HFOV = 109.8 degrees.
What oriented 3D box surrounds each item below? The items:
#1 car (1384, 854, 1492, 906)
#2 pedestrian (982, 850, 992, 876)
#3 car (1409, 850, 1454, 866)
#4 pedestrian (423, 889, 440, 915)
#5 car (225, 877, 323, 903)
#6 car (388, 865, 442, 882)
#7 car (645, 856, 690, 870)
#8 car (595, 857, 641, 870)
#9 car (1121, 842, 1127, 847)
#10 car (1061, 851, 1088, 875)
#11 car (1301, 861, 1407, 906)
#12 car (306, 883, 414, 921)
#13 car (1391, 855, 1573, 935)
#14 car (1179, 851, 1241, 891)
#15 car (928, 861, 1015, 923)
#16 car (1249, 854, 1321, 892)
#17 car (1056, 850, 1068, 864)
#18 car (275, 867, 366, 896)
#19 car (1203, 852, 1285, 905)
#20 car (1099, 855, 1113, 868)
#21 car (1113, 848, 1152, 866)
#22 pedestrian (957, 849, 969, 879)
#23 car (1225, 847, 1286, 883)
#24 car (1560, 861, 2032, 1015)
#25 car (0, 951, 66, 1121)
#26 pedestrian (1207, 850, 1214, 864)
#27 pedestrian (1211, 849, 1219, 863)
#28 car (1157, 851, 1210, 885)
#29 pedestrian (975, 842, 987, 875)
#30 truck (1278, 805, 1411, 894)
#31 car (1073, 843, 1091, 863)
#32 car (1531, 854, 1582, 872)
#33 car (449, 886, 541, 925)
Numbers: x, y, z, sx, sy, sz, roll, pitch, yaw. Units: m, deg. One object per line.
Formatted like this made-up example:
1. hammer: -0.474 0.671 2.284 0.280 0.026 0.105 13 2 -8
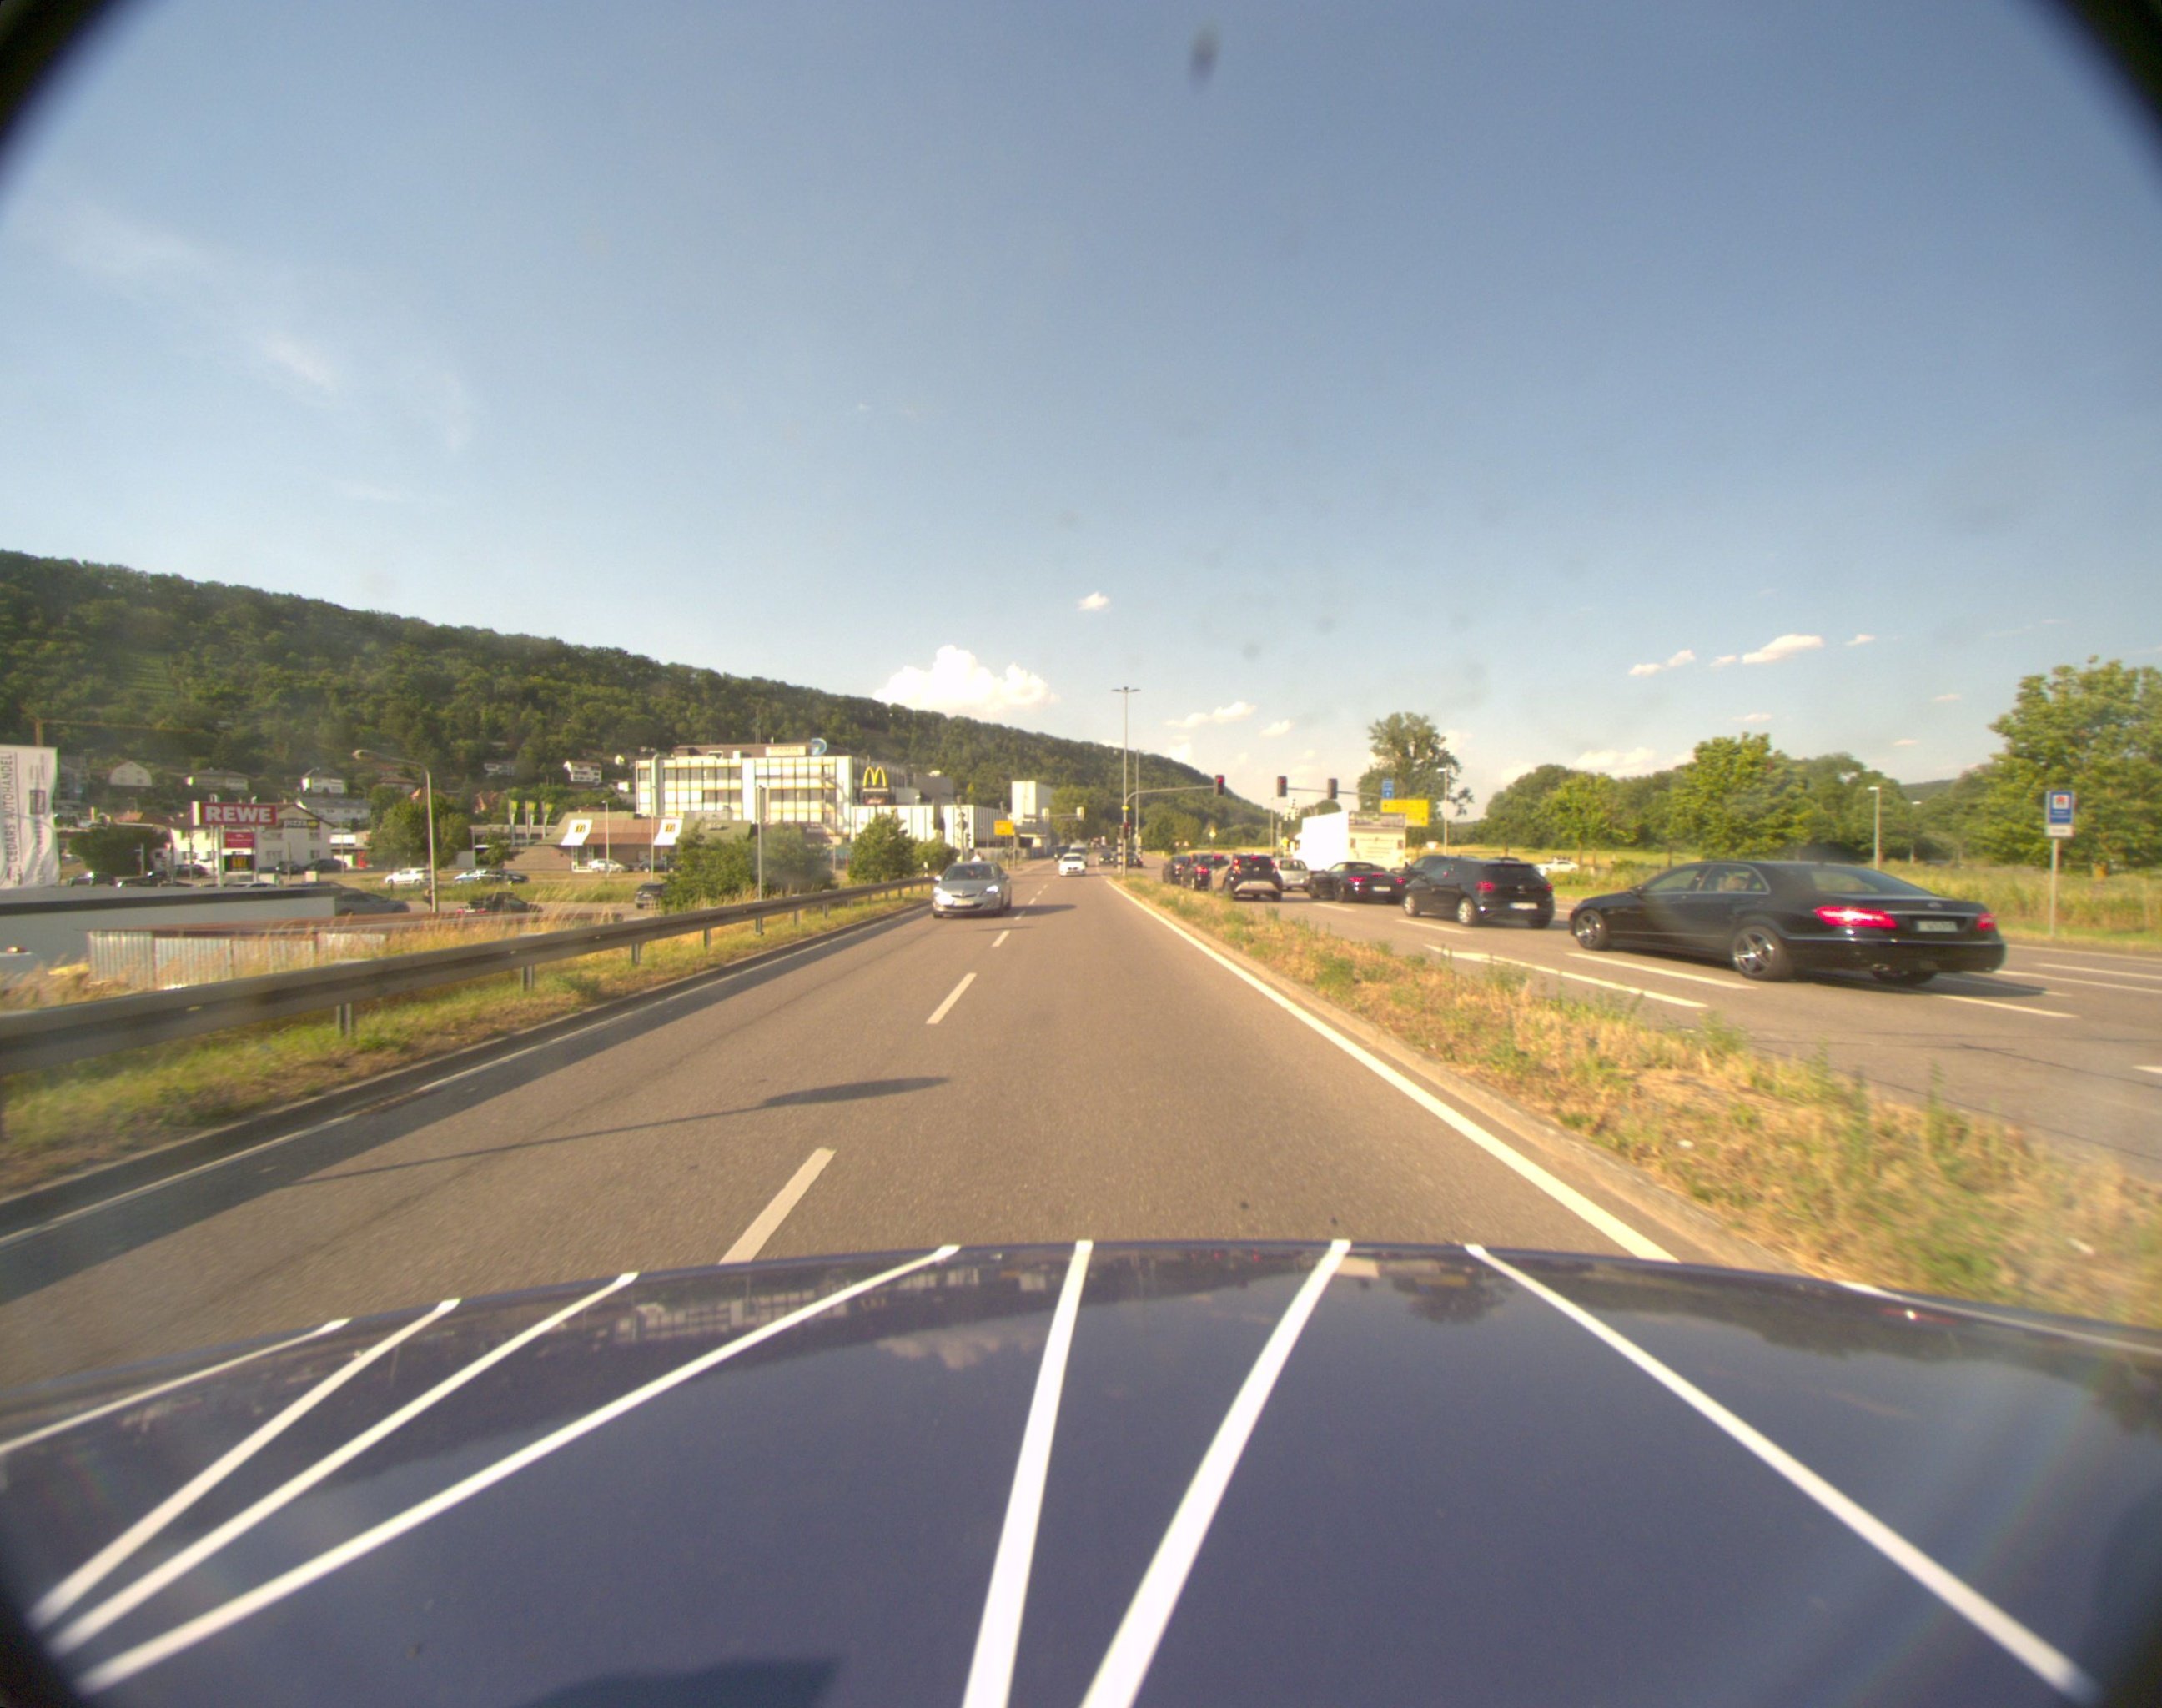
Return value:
1. car: 12.045 0.822 25.970 1.767 1.520 3.999 1 1 0
2. pedestrian: -5.921 0.588 47.948 0.573 1.606 0.622 1 2 -4
3. car: 35.536 0.352 77.015 3.881 1.412 1.765 -3 2 -14
4. pedestrian: -38.278 2.830 44.777 0.379 1.451 0.568 -1 2 26
5. car: -58.411 2.556 55.107 1.997 1.516 4.440 -2 1 7
6. car: -63.064 1.847 71.972 3.649 1.412 1.690 -2 2 6
7. car: -46.458 1.011 85.322 3.996 1.449 1.860 0 2 2
8. car: -52.075 1.061 85.446 3.996 1.449 1.860 0 2 2
9. car: 12.584 -2.832 224.047 1.712 1.426 4.144 1 2 1
10. car: -0.426 0.626 54.987 1.825 1.552 3.999 -2 1 1
11. car: 8.813 0.899 25.009 1.706 1.276 4.818 1 0 -1
12. car: -38.239 2.510 40.442 1.836 1.693 4.128 0 1 -1
13. car: 8.702 0.808 16.969 1.706 1.465 4.244 1 1 -1
14. car: 5.263 0.679 31.644 1.785 1.528 4.571 0 -1 0
15. car: -2.841 0.952 20.571 1.690 1.383 3.883 -1 1 1
16. car: 8.760 0.760 33.027 1.706 1.397 5.079 0 1 -1
17. car: -3.000 0.430 117.037 1.795 2.155 4.588 0 1 -2
18. car: -53.708 1.897 53.752 1.998 1.696 4.158 -2 1 5
19. car: 5.259 0.745 25.016 1.785 1.511 3.999 1 1 0
20. car: 3.074 0.875 94.406 1.710 1.423 3.473 -2 1 1
21. car: 4.974 0.289 74.283 1.862 1.565 4.135 -3 2 -29
22. pedestrian: -7.011 0.611 45.105 0.532 1.740 0.537 3 2 5
23. car: 8.994 0.527 39.654 1.999 1.669 4.805 0 1 -1
24. car: 8.699 0.868 10.027 1.719 1.455 4.726 1 0 0
25. car: -14.040 2.142 8.091 3.996 1.806 1.835 -2 2 2
26. pedestrian: 15.265 0.395 89.686 0.655 1.597 0.838 -1 2 21
27. pedestrian: 15.645 0.246 88.746 0.655 1.597 0.891 -1 2 21
28. car: 4.988 0.652 37.620 1.795 1.458 4.927 0 1 -2
29. pedestrian: -5.852 0.259 44.587 0.620 1.872 0.861 0 2 -1
30. truck: 12.465 -0.306 37.300 2.940 3.669 10.496 2 2 1
31. car: 0.097 -0.175 85.565 1.795 2.155 4.588 0 1 -2
32. car: 48.376 0.896 77.346 4.258 1.609 1.591 -2 2 -2
33. car: -31.040 2.677 40.435 1.837 1.693 4.127 0 1 -4
